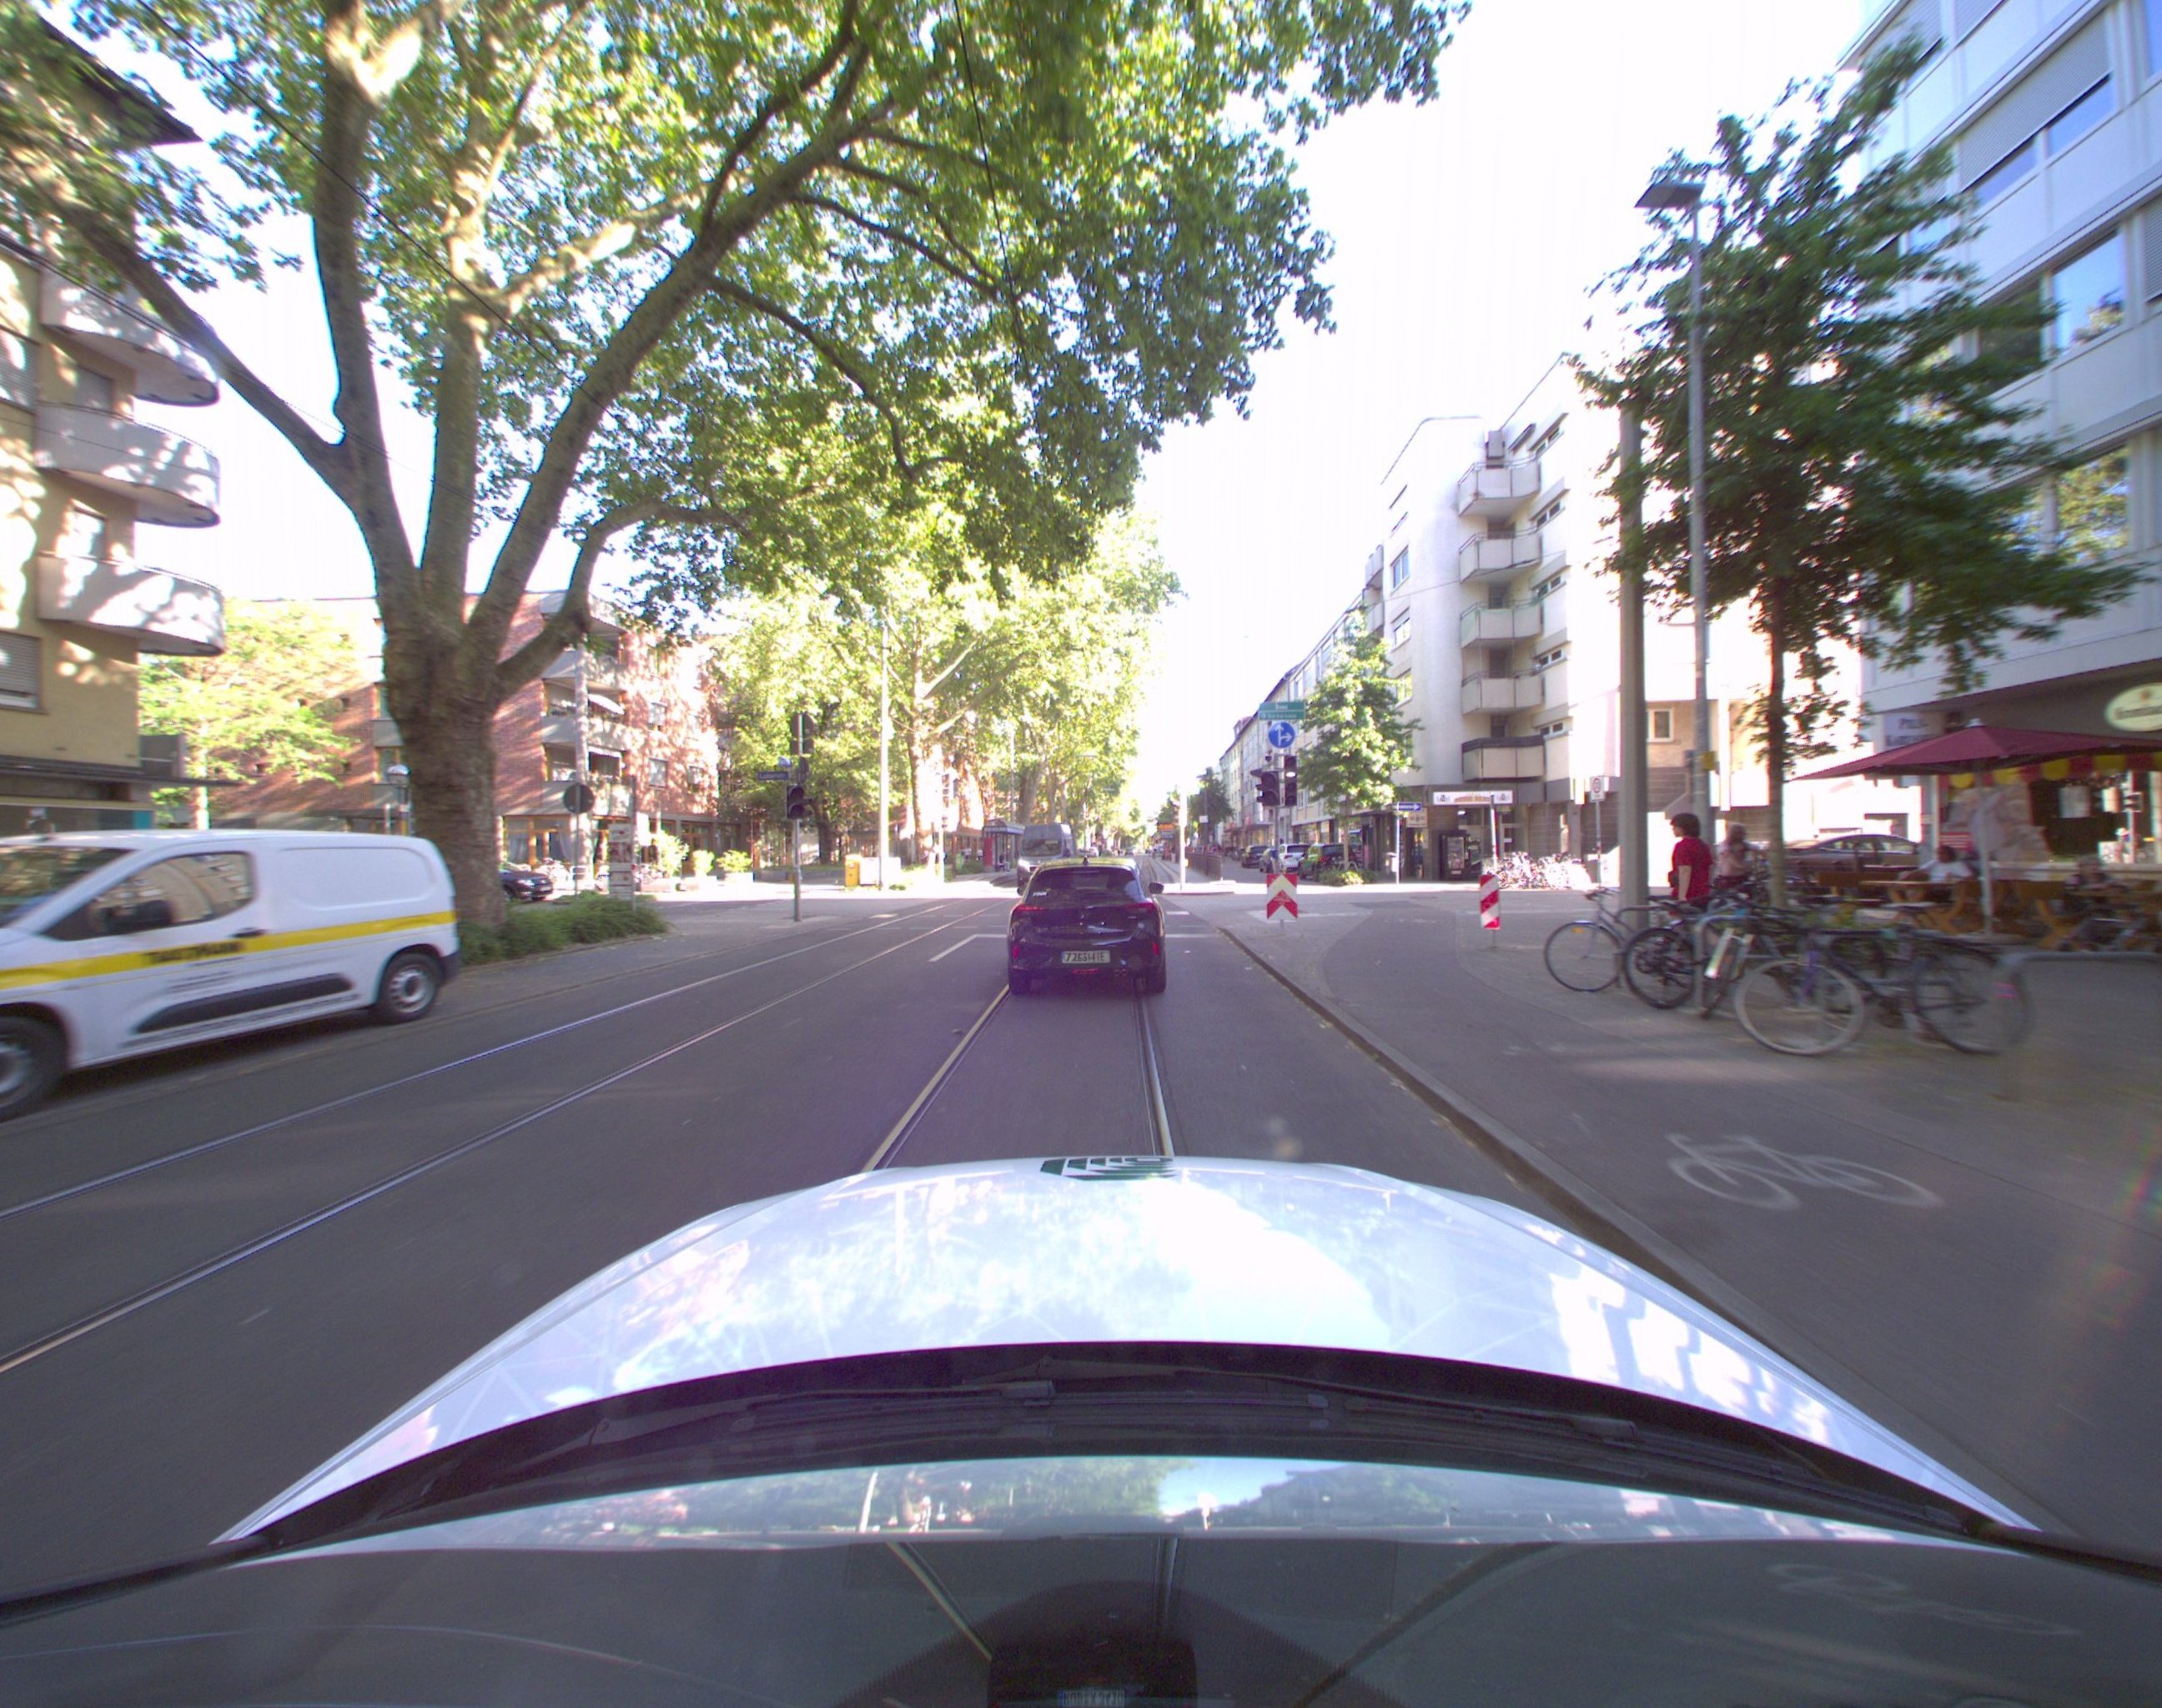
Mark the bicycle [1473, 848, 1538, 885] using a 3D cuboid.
[{"bbox_3d":[14.227,0.416,27.316,1.908,1.207,0.511,-1,0,0],"label":"bicycle"}]

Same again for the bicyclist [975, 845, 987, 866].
[{"bbox_3d":[-8.146,0.122,66.248,0.779,1.763,0.951,0,0,1],"label":"bicyclist"}]

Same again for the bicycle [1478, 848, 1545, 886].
[{"bbox_3d":[14.140,0.415,26.763,1.908,1.207,0.511,-1,0,0],"label":"bicycle"}]

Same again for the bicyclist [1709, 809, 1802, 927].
[{"bbox_3d":[10.218,0.199,12.377,0.673,1.717,0.967,0,0,6],"label":"bicyclist"}]

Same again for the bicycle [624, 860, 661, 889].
[{"bbox_3d":[-17.858,0.807,33.218,0.539,1.084,1.640,0,2,3],"label":"bicycle"}]

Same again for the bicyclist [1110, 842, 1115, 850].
[{"bbox_3d":[6.522,-1.588,167.905,0.936,1.703,1.155,0,0,7],"label":"bicyclist"}]

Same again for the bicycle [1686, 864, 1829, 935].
[{"bbox_3d":[10.215,0.651,12.403,0.673,0.963,2.026,0,0,6],"label":"bicycle"}]

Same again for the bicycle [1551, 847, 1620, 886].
[{"bbox_3d":[16.262,0.401,26.263,1.907,1.207,0.511,0,1,0],"label":"bicycle"}]

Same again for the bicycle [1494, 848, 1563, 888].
[{"bbox_3d":[14.103,0.445,25.697,1.908,1.207,0.511,-1,1,0],"label":"bicycle"}]

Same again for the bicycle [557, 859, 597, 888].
[{"bbox_3d":[-20.795,0.775,33.629,0.539,1.084,1.640,0,2,3],"label":"bicycle"}]

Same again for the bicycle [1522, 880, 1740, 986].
[{"bbox_3d":[5.366,0.761,8.004,1.808,0.994,0.481,0,0,1],"label":"bicycle"}]

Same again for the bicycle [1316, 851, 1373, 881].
[{"bbox_3d":[10.535,0.485,32.633,2.112,1.187,0.683,0,0,12],"label":"bicycle"}]

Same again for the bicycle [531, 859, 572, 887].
[{"bbox_3d":[-21.838,0.752,33.597,0.539,1.084,1.640,-1,1,3],"label":"bicycle"}]

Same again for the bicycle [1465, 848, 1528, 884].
[{"bbox_3d":[14.206,0.413,27.853,1.907,1.207,0.511,0,0,0],"label":"bicycle"}]

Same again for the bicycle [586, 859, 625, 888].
[{"bbox_3d":[-19.530,0.776,33.468,0.539,1.084,1.640,0,2,3],"label":"bicycle"}]

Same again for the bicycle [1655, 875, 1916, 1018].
[{"bbox_3d":[5.710,0.727,6.634,1.812,1.100,0.480,0,0,-5],"label":"bicycle"}]

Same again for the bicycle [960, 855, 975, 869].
[{"bbox_3d":[-9.202,0.612,65.957,0.779,1.111,2.597,0,0,2],"label":"bicycle"}]

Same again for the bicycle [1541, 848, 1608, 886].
[{"bbox_3d":[16.266,0.426,26.876,1.907,1.207,0.511,0,0,0],"label":"bicycle"}]

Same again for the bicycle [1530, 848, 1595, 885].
[{"bbox_3d":[16.281,0.422,27.540,1.907,1.208,0.511,0,-1,0],"label":"bicycle"}]

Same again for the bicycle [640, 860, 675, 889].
[{"bbox_3d":[-17.234,0.819,33.186,0.539,1.084,1.539,0,3,3],"label":"bicycle"}]

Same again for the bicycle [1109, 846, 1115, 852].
[{"bbox_3d":[6.402,-1.049,166.995,0.950,1.240,2.984,0,0,7],"label":"bicycle"}]

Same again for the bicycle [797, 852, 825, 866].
[{"bbox_3d":[-20.709,0.359,62.498,1.941,1.073,0.762,0,0,-12],"label":"bicycle"}]

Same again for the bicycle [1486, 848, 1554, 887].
[{"bbox_3d":[14.124,0.434,26.228,1.908,1.207,0.511,-1,1,0],"label":"bicycle"}]

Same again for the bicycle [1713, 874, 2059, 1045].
[{"bbox_3d":[5.511,0.705,5.641,1.807,1.100,0.526,-1,0,3],"label":"bicycle"}]

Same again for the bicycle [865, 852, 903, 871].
[{"bbox_3d":[-13.685,0.518,56.606,2.447,1.219,0.683,1,0,4],"label":"bicycle"}]

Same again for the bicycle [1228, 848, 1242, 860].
[{"bbox_3d":[14.962,0.006,79.012,0.620,1.136,2.433,0,0,-7],"label":"bicycle"}]

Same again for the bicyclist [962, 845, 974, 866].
[{"bbox_3d":[-9.182,0.119,66.071,0.771,1.750,0.998,0,0,2],"label":"bicyclist"}]

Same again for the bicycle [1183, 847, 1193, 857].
[{"bbox_3d":[13.587,-0.247,103.558,0.858,1.136,2.394,0,0,-2],"label":"bicycle"}]

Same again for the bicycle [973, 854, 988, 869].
[{"bbox_3d":[-8.163,0.568,66.208,0.779,1.191,2.597,0,0,2],"label":"bicycle"}]

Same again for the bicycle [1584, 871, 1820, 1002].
[{"bbox_3d":[5.522,0.710,7.270,1.812,1.100,0.497,0,0,-5],"label":"bicycle"}]

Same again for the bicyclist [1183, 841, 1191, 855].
[{"bbox_3d":[13.570,-0.772,104.040,0.859,1.759,1.053,0,0,-2],"label":"bicyclist"}]

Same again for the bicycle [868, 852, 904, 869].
[{"bbox_3d":[-13.619,0.475,57.041,2.329,1.166,0.683,1,0,4],"label":"bicycle"}]
